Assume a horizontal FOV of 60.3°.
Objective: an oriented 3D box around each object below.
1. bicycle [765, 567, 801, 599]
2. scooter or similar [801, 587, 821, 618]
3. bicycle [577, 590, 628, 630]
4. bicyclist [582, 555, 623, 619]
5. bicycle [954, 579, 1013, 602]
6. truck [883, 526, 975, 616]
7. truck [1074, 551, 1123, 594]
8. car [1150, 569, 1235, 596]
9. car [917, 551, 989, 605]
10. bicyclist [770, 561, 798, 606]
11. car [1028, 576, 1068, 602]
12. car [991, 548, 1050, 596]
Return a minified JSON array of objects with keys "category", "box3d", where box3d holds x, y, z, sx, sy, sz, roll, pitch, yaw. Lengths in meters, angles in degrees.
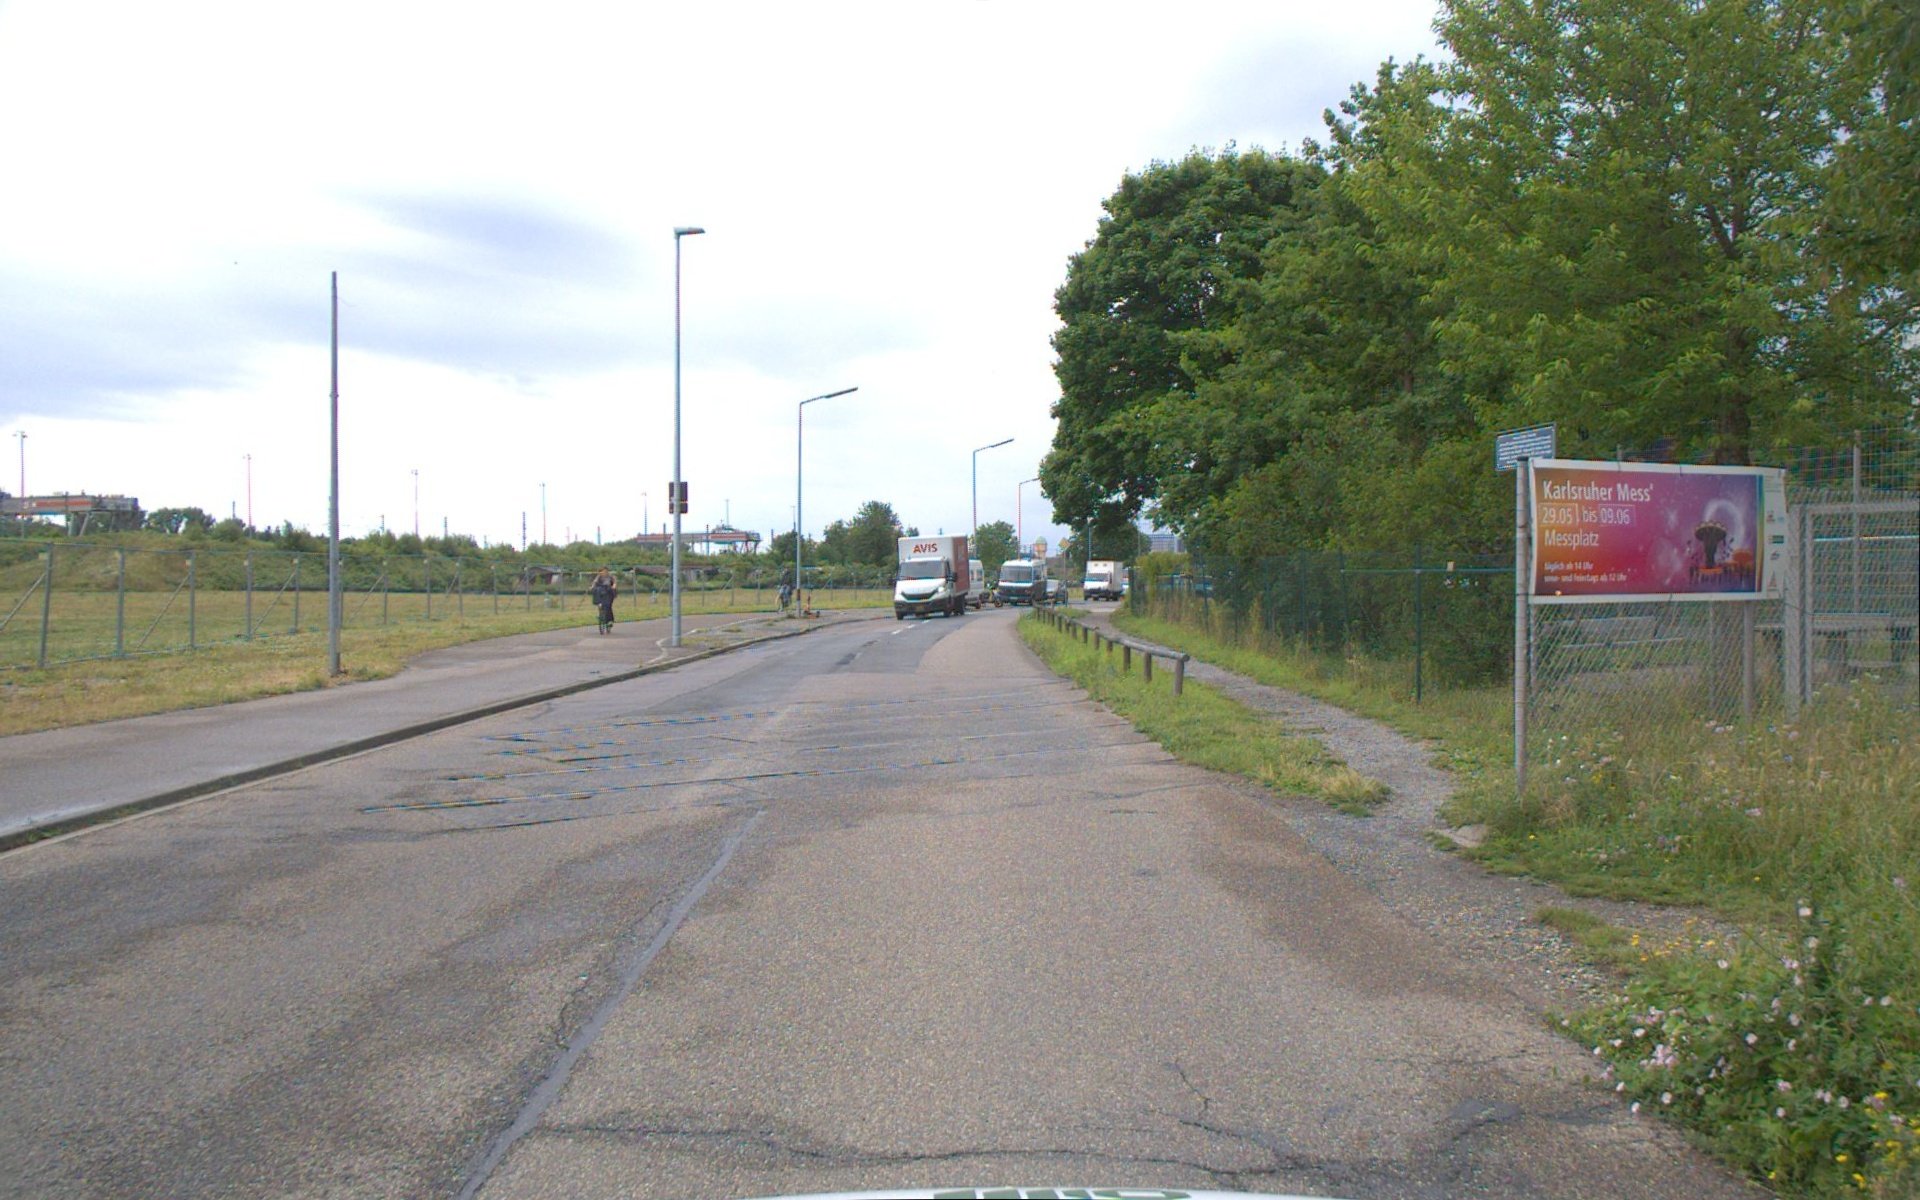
[{"category":"bicycle","box3d":[-7.306,-0.709,68.263,0.801,1.225,2.560,0,2,9]},{"category":"scooter or similar","box3d":[-5.987,0.081,66.393,0.596,1.203,1.702,1,1,0]},{"category":"bicycle","box3d":[-8.959,0.233,41.552,0.787,0.923,2.233,0,2,0]},{"category":"bicyclist","box3d":[-8.965,-0.339,41.543,0.766,1.553,1.094,0,2,0]},{"category":"bicycle","box3d":[1.299,-0.515,91.115,3.054,1.220,1.366,0,2,14]},{"category":"truck","box3d":[-1.075,-1.144,62.743,2.291,3.115,7.504,-3,1,7]},{"category":"truck","box3d":[10.642,-2.127,126.214,2.409,3.113,8.170,-1,2,14]},{"category":"car","box3d":[13.624,-1.028,96.871,4.757,1.526,1.844,0,2,14]},{"category":"car","box3d":[-0.304,-1.153,83.973,2.240,2.600,6.417,-1,2,13]},{"category":"bicyclist","box3d":[-7.286,-0.692,68.490,0.809,1.853,1.332,0,2,9]},{"category":"car","box3d":[5.683,-0.702,106.325,1.742,1.531,4.003,0,2,16]},{"category":"car","box3d":[3.690,-1.737,99.432,2.251,2.781,6.097,0,2,15]}]
